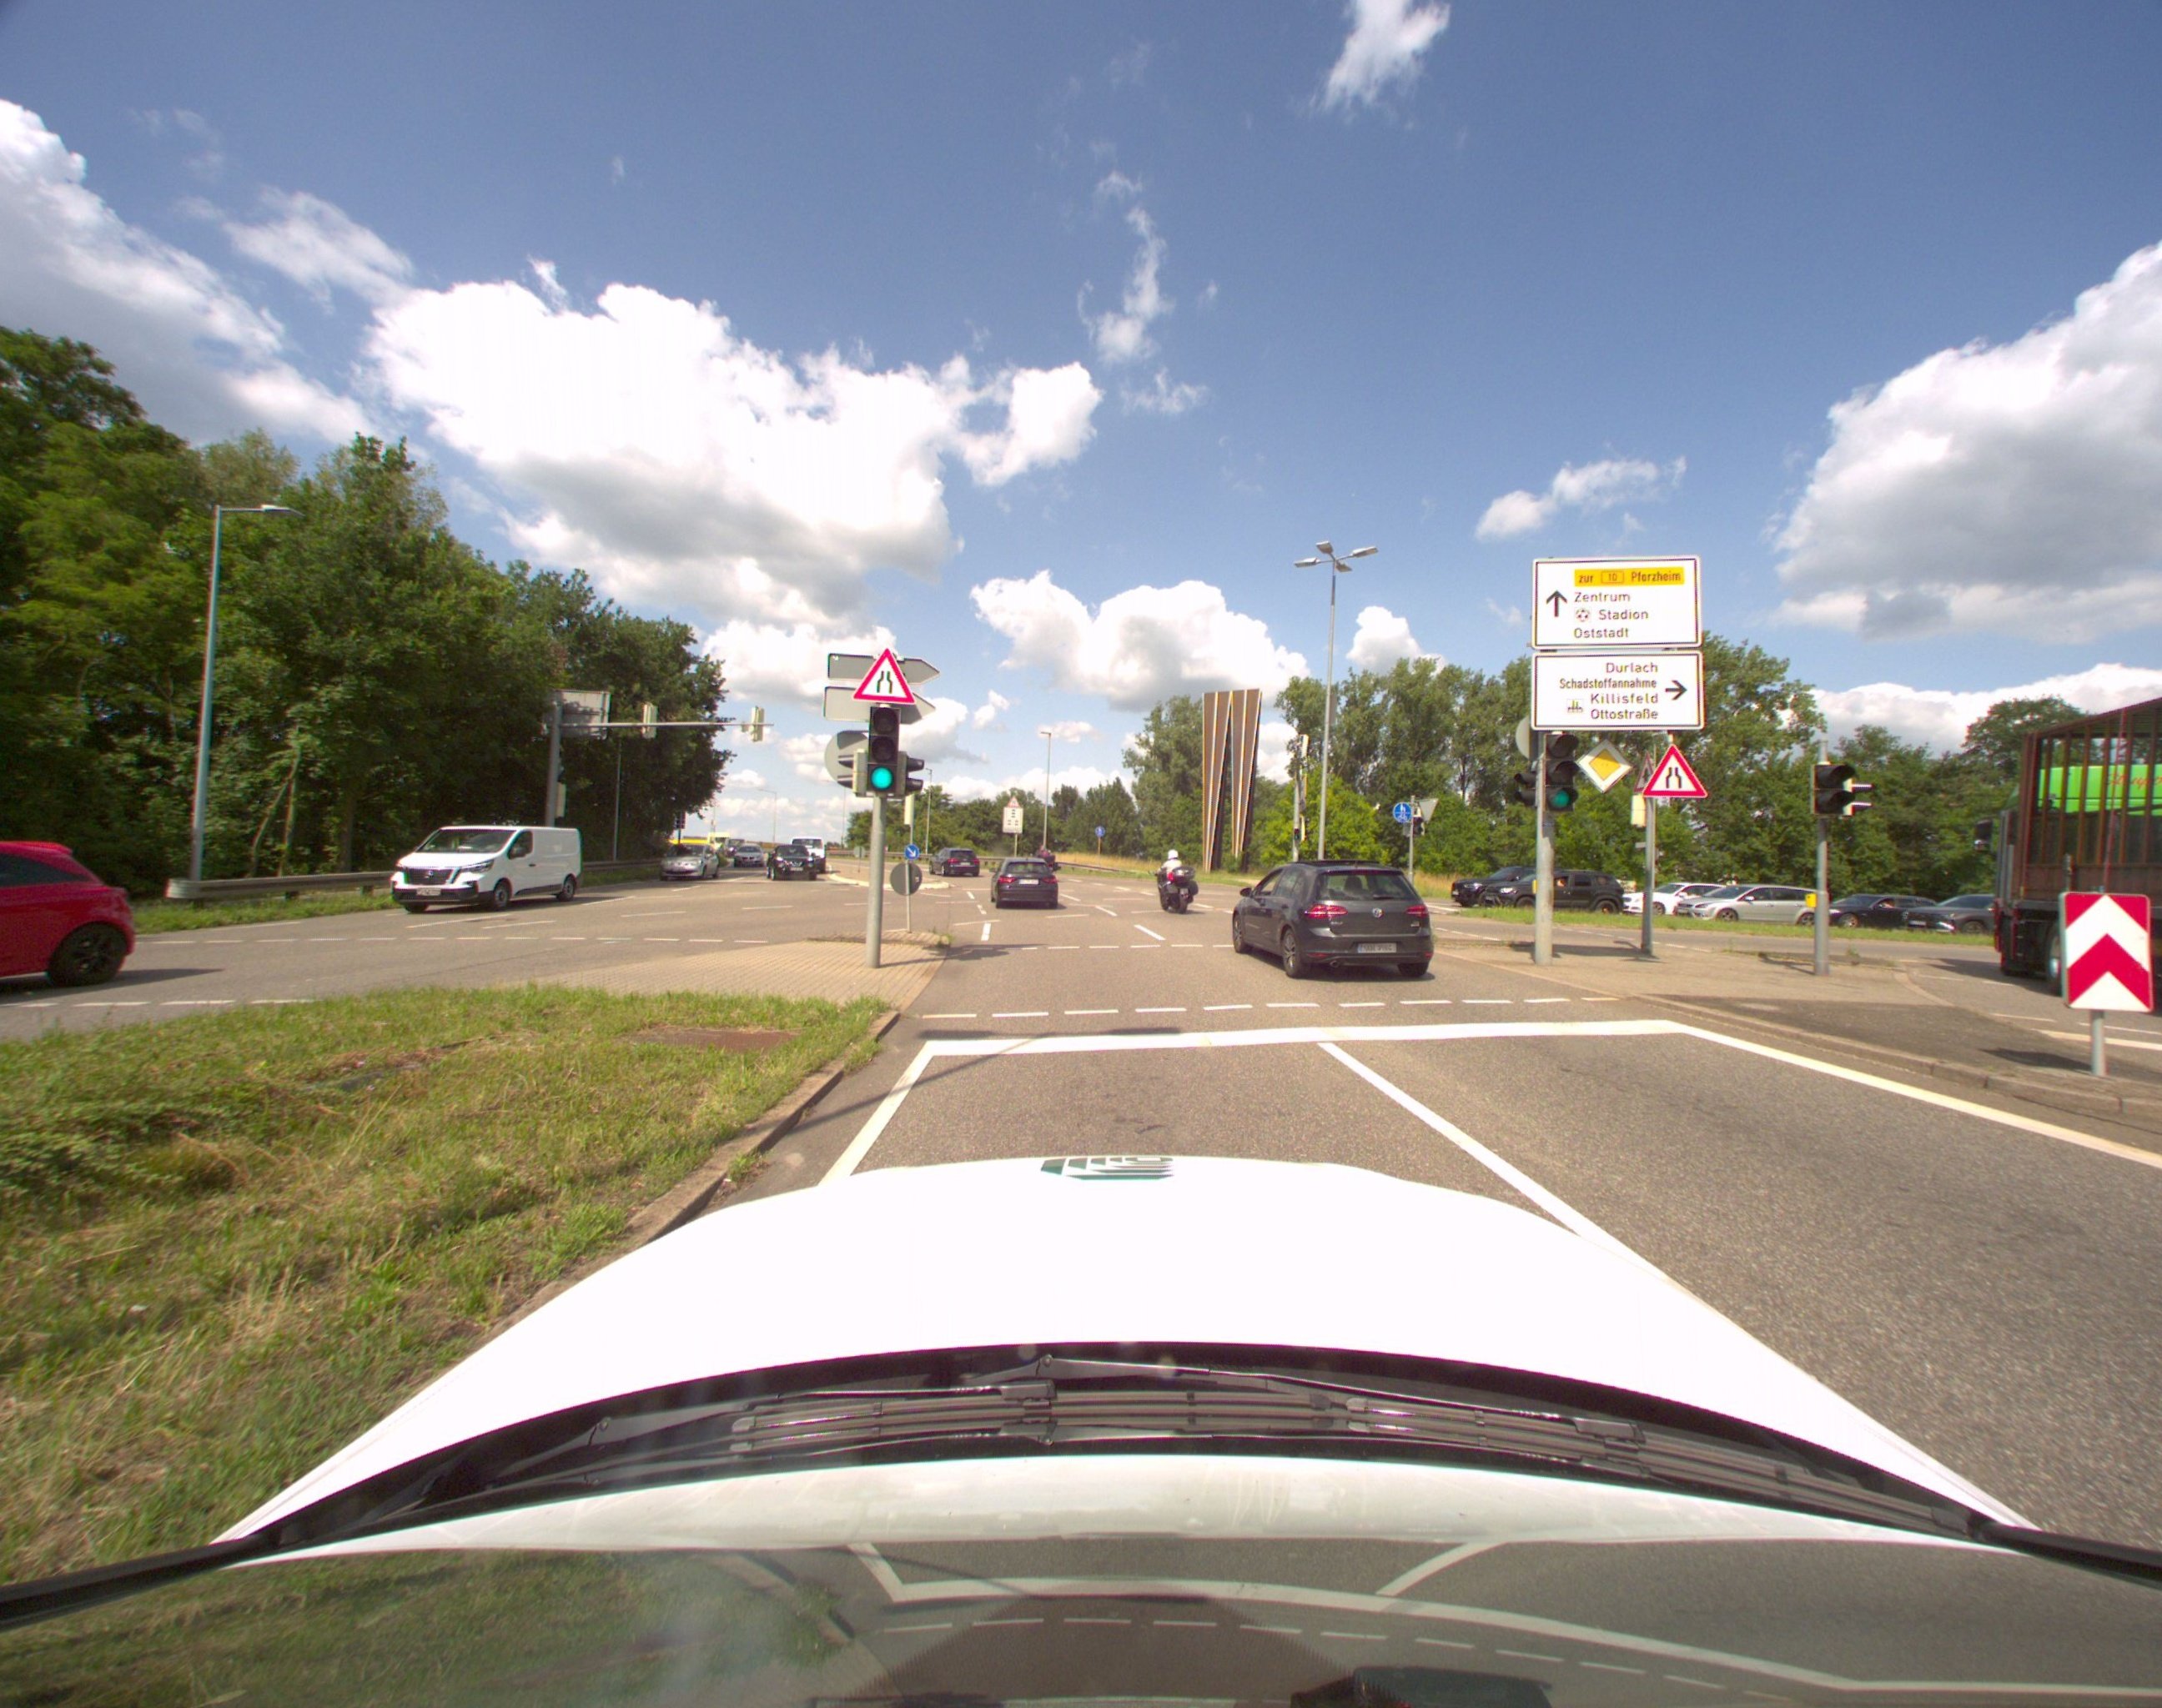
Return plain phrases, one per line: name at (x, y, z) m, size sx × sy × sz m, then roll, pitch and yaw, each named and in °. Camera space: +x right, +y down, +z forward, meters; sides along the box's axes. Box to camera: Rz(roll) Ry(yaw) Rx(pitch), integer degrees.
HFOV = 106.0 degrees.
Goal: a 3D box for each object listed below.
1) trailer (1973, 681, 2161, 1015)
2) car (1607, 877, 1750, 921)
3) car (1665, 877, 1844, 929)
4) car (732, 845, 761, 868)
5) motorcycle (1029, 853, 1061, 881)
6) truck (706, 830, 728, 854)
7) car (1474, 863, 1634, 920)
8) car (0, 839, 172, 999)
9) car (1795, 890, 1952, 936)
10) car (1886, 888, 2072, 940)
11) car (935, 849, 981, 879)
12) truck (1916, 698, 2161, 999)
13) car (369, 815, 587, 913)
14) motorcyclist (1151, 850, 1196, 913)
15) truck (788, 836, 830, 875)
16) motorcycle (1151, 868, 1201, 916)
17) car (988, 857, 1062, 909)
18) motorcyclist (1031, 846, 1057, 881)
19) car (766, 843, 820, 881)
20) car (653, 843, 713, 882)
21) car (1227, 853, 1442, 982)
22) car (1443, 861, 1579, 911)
trailer at (12.432, -0.112, 6.518) m, size 2.614 × 3.891 × 13.929 m, roll 3°, pitch 0°, yaw 29°
car at (22.591, 1.692, 30.895) m, size 4.186 × 1.375 × 1.647 m, roll 3°, pitch 0°, yaw 2°
car at (22.292, 1.604, 27.056) m, size 4.511 × 1.375 × 1.647 m, roll 3°, pitch 0°, yaw 2°
car at (-22.356, 0.163, 54.370) m, size 1.689 × 1.478 × 4.677 m, roll -1°, pitch 0°, yaw -23°
motorcycle at (-1.684, 0.590, 37.875) m, size 0.889 × 1.247 × 2.385 m, roll 2°, pitch 0°, yaw -17°
truck at (-42.177, -1.399, 94.414) m, size 2.004 × 2.620 × 6.050 m, roll -1°, pitch 1°, yaw -27°
car at (15.774, 1.227, 27.313) m, size 4.265 × 1.617 × 1.846 m, roll 3°, pitch -1°, yaw 2°
car at (-10.402, 0.582, 6.761) m, size 1.580 × 1.432 × 3.989 m, roll 0°, pitch 0°, yaw -8°
car at (29.806, 2.194, 30.729) m, size 4.186 × 1.375 × 1.702 m, roll 3°, pitch 0°, yaw 2°
car at (29.858, 1.967, 27.175) m, size 4.021 × 1.375 × 1.881 m, roll 3°, pitch 0°, yaw 2°
car at (-6.425, 0.501, 42.227) m, size 1.647 × 1.479 × 3.847 m, roll 1°, pitch 0°, yaw -19°
truck at (16.028, 0.056, 12.788) m, size 2.841 × 3.903 × 5.913 m, roll 3°, pitch 0°, yaw 35°
car at (-14.083, 0.215, 19.504) m, size 1.993 × 2.013 × 5.119 m, roll -1°, pitch 0°, yaw -9°
motorcyclist at (2.483, 0.731, 21.981) m, size 0.964 × 1.620 × 1.122 m, roll 2°, pitch -1°, yaw -6°
truck at (-14.565, 0.038, 43.553) m, size 1.966 × 1.913 × 5.336 m, roll 1°, pitch 0°, yaw -19°
motorcycle at (2.499, 0.977, 21.719) m, size 0.788 × 1.132 × 2.394 m, roll 1°, pitch 0°, yaw -6°
car at (-1.702, 0.782, 23.668) m, size 1.683 × 1.388 × 3.724 m, roll 0°, pitch -1°, yaw -11°
motorcyclist at (-1.731, 0.423, 37.979) m, size 0.968 × 1.596 × 1.118 m, roll 2°, pitch -1°, yaw -18°
car at (-12.585, 0.319, 35.422) m, size 1.707 × 1.557 × 3.789 m, roll 1°, pitch 0°, yaw -27°
car at (-16.722, 0.333, 34.374) m, size 1.738 × 1.521 × 4.043 m, roll -1°, pitch 0°, yaw -19°
car at (3.314, 0.754, 11.433) m, size 1.638 × 1.479 × 3.868 m, roll 1°, pitch 0°, yaw -3°
car at (16.375, 1.197, 31.174) m, size 4.186 × 1.645 × 1.839 m, roll 3°, pitch 0°, yaw 2°
